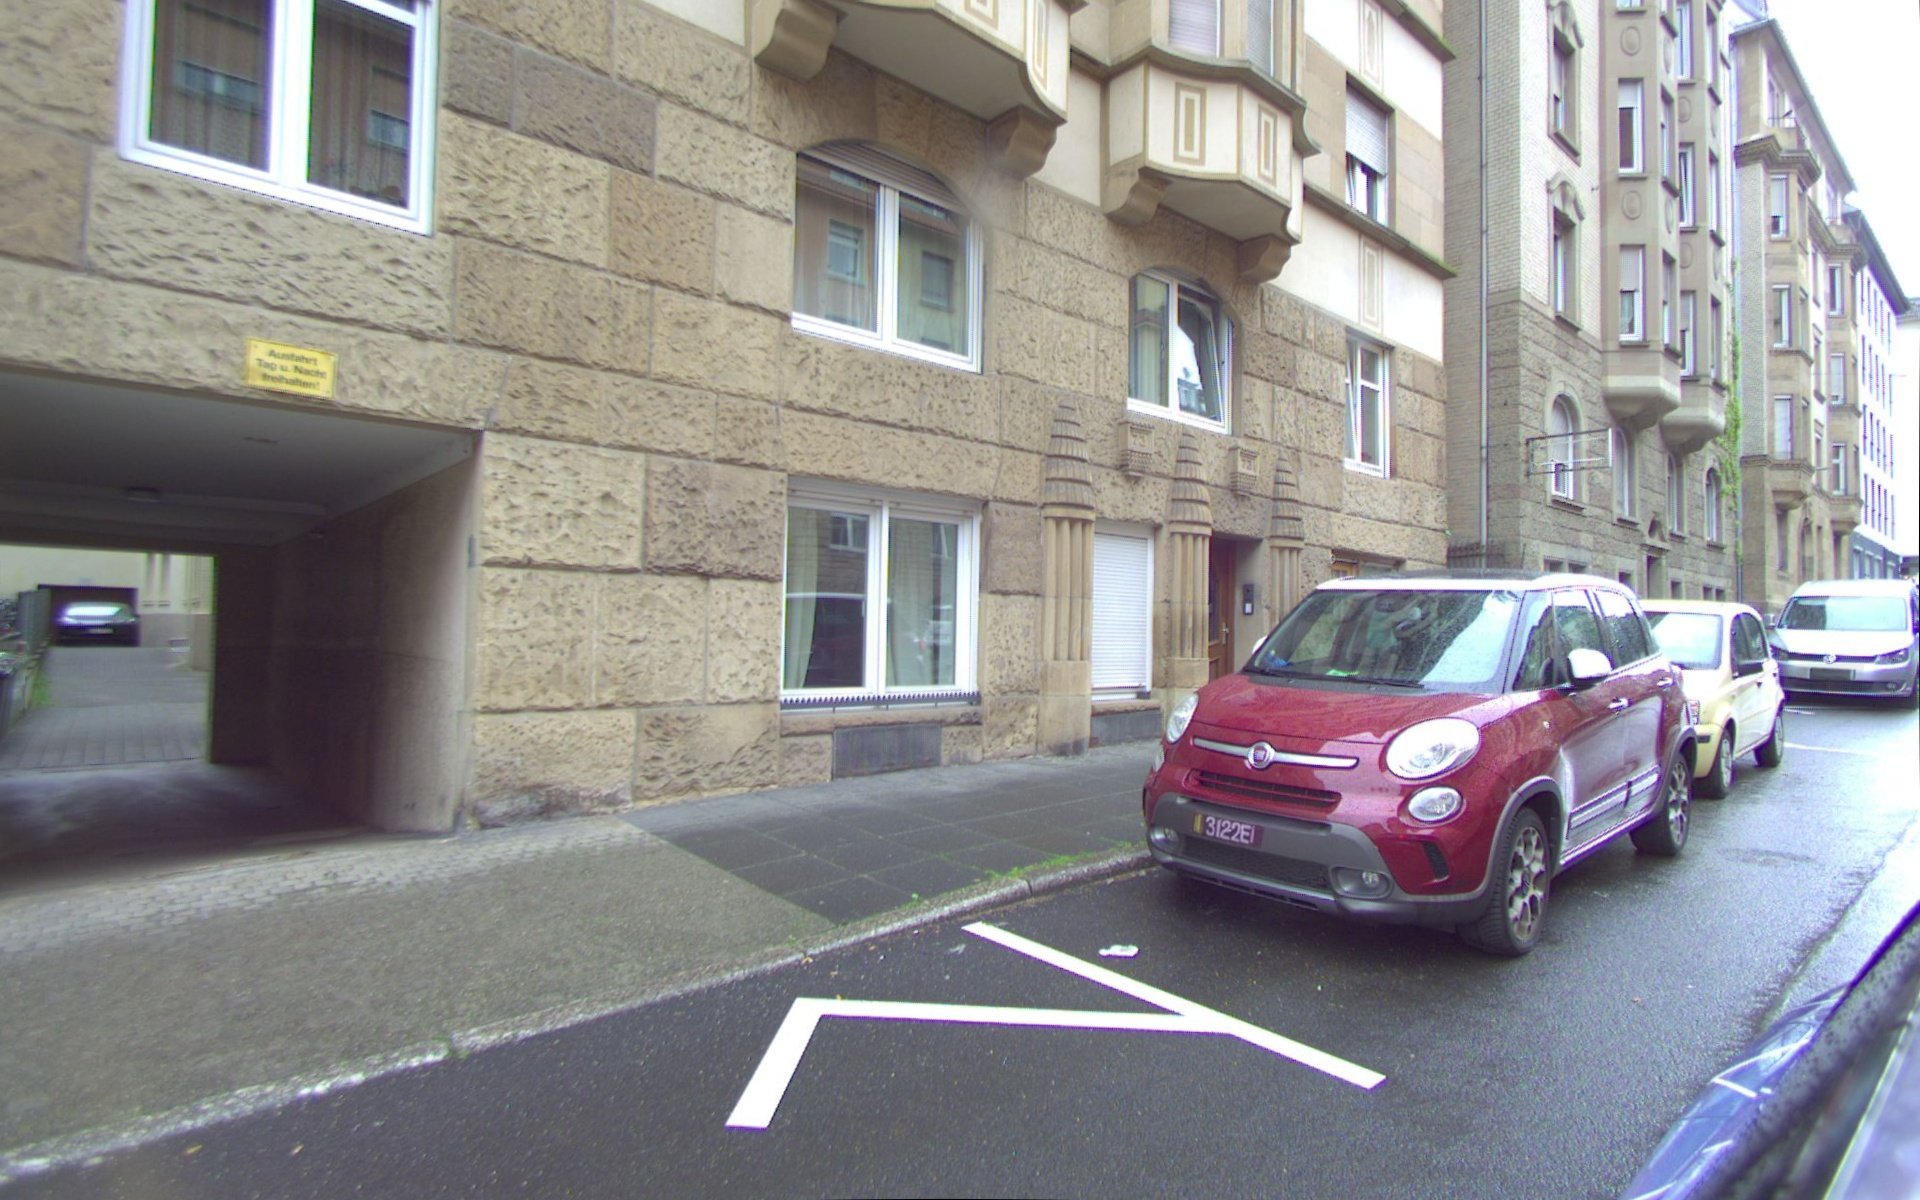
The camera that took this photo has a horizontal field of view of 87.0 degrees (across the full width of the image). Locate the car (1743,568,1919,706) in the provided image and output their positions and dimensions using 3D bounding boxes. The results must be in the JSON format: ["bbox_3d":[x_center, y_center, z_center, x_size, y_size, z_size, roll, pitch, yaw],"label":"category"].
[{"bbox_3d":[13.796,0.499,15.529,4.380,1.825,1.966,0,-1,-41],"label":"car"}]

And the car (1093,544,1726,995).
[{"bbox_3d":[2.710,0.613,5.650,3.932,1.619,1.804,0,-1,-42],"label":"car"}]

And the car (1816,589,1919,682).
[{"bbox_3d":[17.204,0.598,18.520,3.934,1.549,1.994,0,-1,-45],"label":"car"}]

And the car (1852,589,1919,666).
[{"bbox_3d":[20.510,0.545,21.459,3.860,1.549,1.889,0,-1,-41],"label":"car"}]

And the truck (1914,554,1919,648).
[{"bbox_3d":[29.196,0.019,28.897,6.036,2.568,2.234,0,-1,-41],"label":"truck"}]

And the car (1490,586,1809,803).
[{"bbox_3d":[6.232,0.676,9.012,3.517,1.549,1.578,0,-1,-43],"label":"car"}]

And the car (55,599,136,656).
[{"bbox_3d":[-25.152,0.749,29.478,1.692,1.541,4.098,0,-1,-41],"label":"car"}]
